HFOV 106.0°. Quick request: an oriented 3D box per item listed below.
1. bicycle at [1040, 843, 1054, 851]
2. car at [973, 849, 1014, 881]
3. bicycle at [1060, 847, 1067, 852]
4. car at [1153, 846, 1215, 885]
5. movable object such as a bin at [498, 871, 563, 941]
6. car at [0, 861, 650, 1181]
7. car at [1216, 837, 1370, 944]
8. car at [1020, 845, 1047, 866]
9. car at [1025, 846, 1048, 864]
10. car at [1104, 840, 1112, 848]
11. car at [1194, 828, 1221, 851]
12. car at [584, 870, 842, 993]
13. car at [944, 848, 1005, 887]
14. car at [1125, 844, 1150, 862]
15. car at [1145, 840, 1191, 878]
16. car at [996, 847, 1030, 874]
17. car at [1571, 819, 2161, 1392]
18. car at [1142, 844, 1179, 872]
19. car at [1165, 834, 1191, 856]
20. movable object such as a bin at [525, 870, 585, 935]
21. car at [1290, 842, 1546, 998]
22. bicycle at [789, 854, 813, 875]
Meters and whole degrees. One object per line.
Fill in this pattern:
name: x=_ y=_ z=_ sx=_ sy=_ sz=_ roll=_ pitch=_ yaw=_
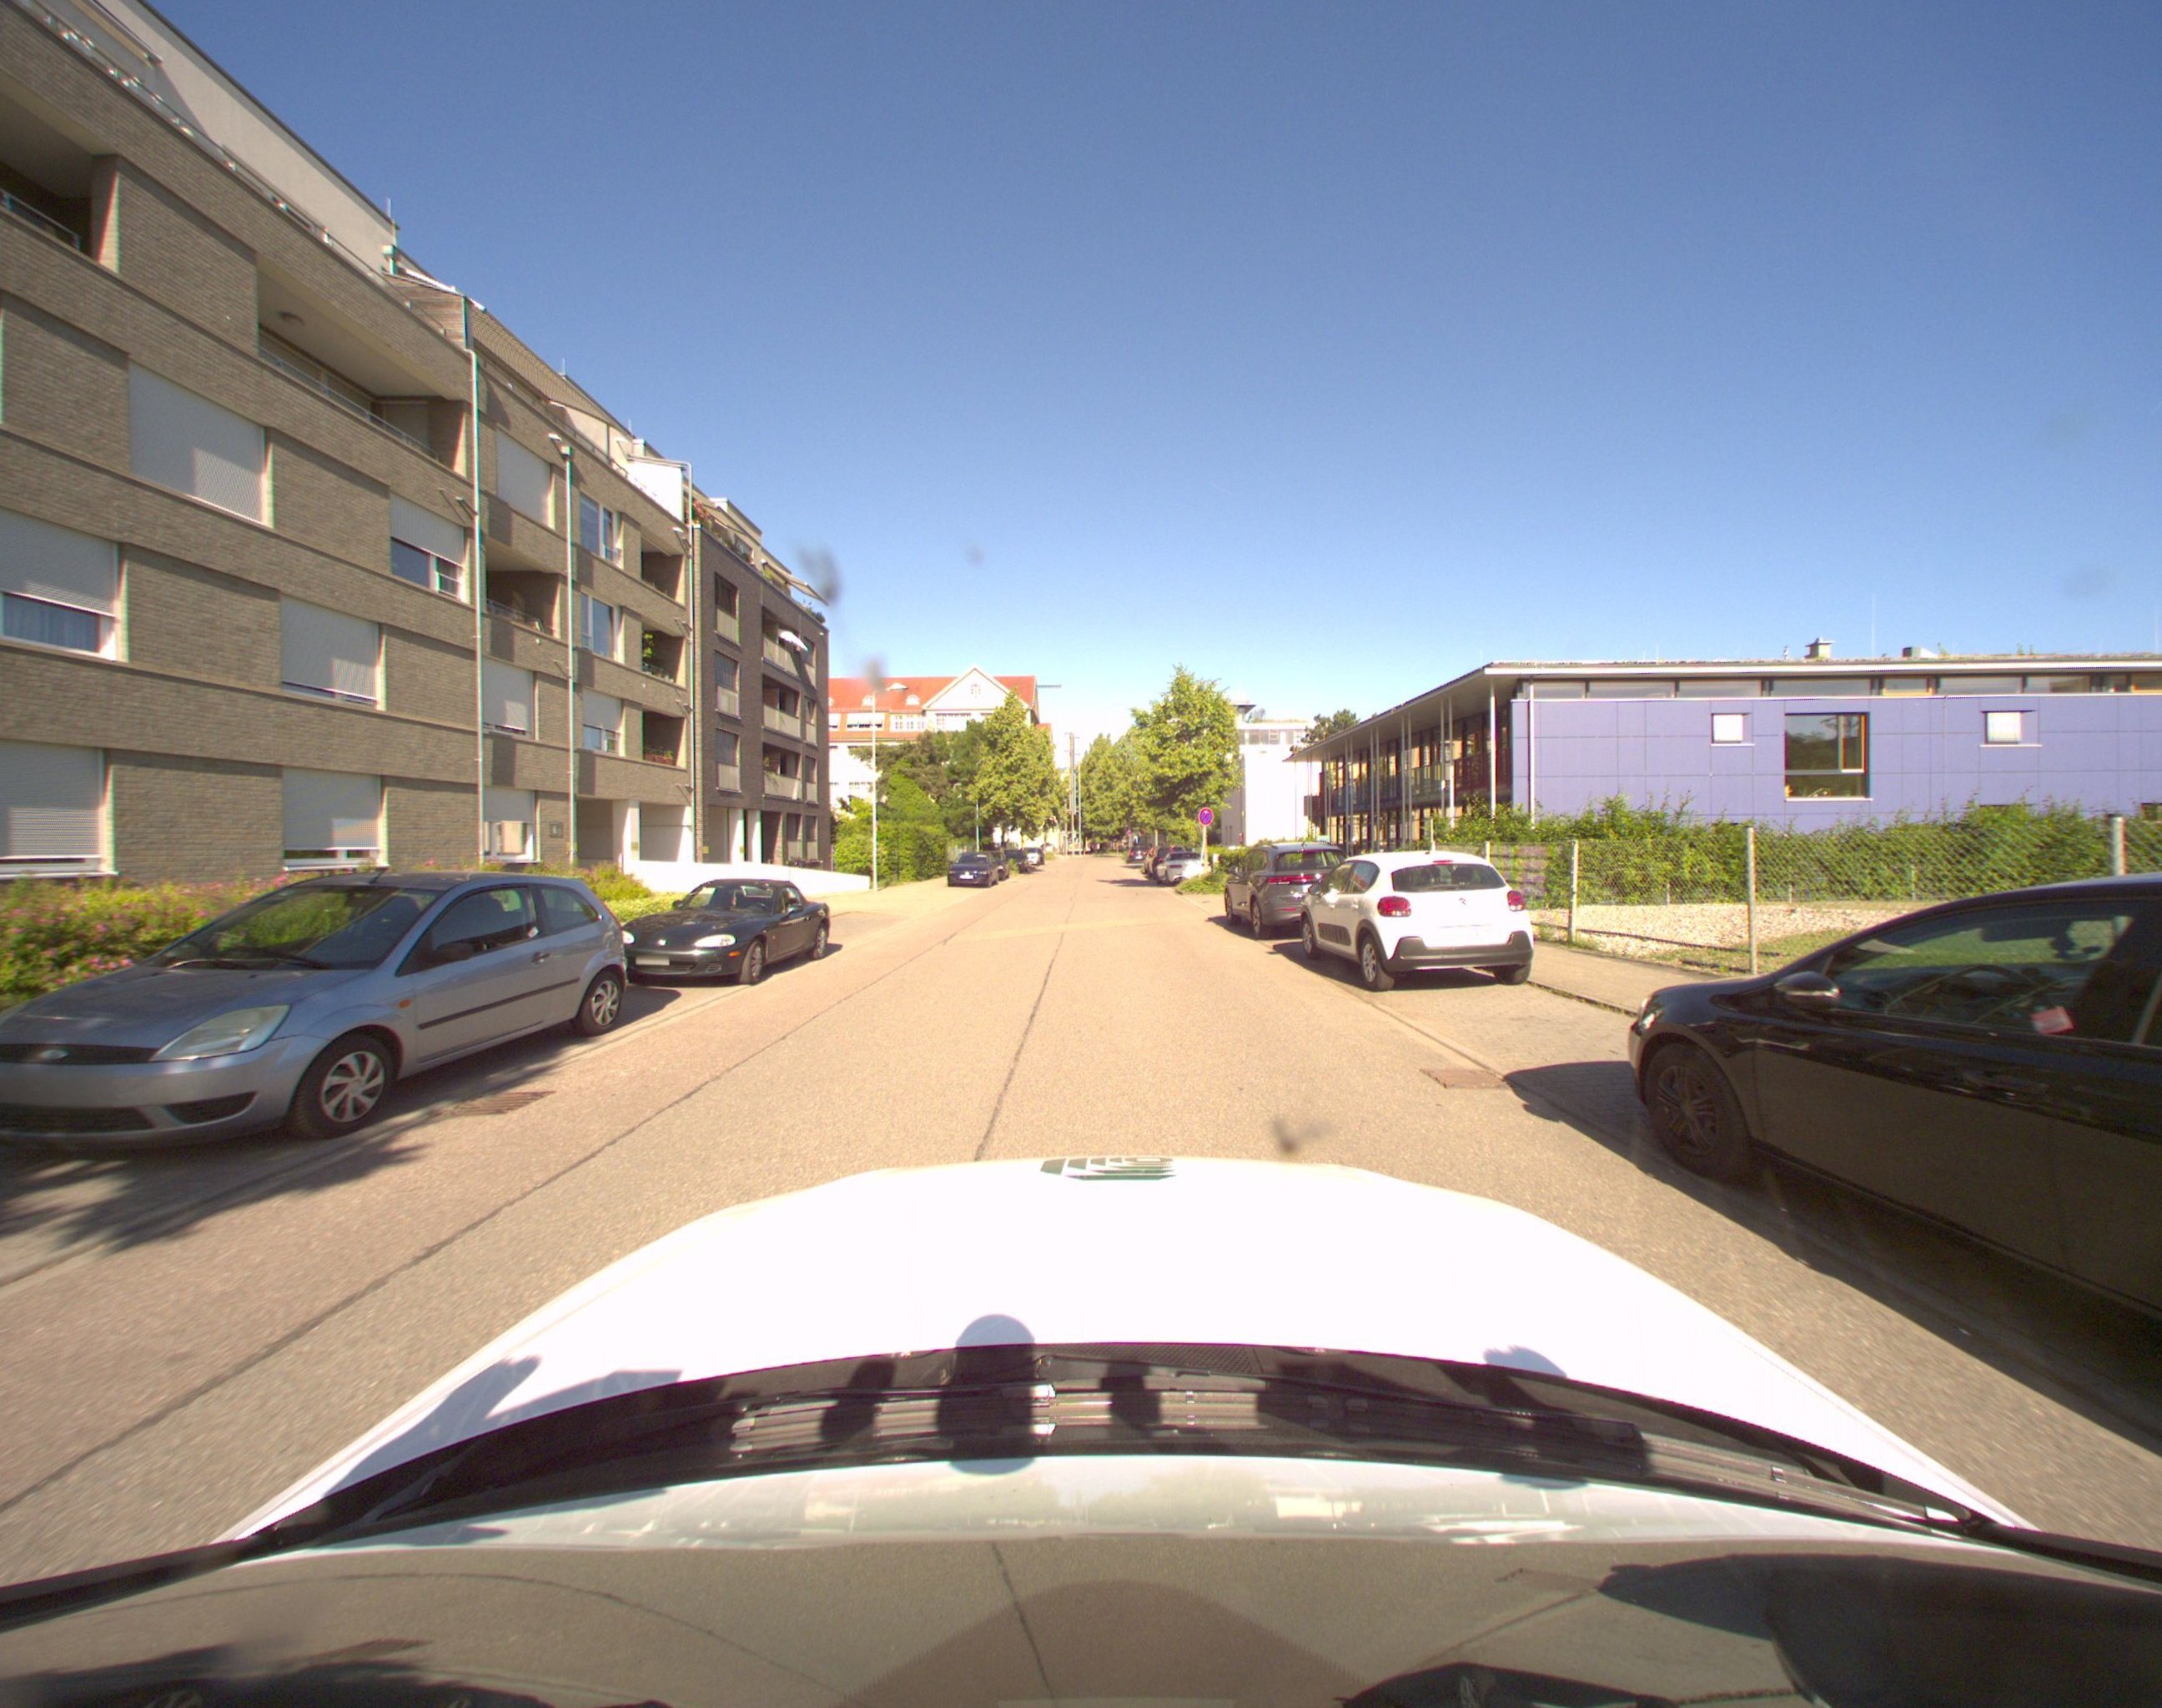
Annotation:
bicycle: x=-3.661 y=-0.733 z=88.442 sx=1.464 sy=0.842 sz=0.335 roll=-1 pitch=1 yaw=-4
car: x=-4.362 y=0.532 z=41.161 sx=1.624 sy=1.501 sz=3.578 roll=-1 pitch=0 yaw=1
bicycle: x=-2.353 y=-0.614 z=108.339 sx=0.375 sy=0.683 sz=1.068 roll=-1 pitch=1 yaw=-36
car: x=4.212 y=0.461 z=33.814 sx=1.825 sy=1.422 sz=4.230 roll=-3 pitch=0 yaw=-2
movable object such as a bin: x=-9.031 y=0.843 z=13.370 sx=0.605 sy=1.090 sz=0.636 roll=-1 pitch=1 yaw=-1
car: x=-4.934 y=0.824 z=5.849 sx=1.606 sy=1.465 sz=3.873 roll=-1 pitch=0 yaw=0
car: x=3.801 y=0.576 z=15.350 sx=1.720 sy=1.652 sz=4.326 roll=-3 pitch=0 yaw=0
car: x=-3.713 y=0.112 z=63.552 sx=1.771 sy=1.530 sz=4.001 roll=-1 pitch=0 yaw=1
car: x=-3.746 y=0.099 z=68.723 sx=1.695 sy=1.470 sz=3.462 roll=-1 pitch=0 yaw=1
car: x=7.342 y=-2.774 z=220.733 sx=1.986 sy=2.013 sz=4.002 roll=-1 pitch=1 yaw=1
car: x=11.854 y=-1.347 z=76.760 sx=1.986 sy=2.013 sz=4.001 roll=-1 pitch=0 yaw=1
car: x=-4.665 y=0.897 z=11.002 sx=1.593 sy=1.217 sz=3.877 roll=1 pitch=1 yaw=2
car: x=-4.460 y=0.527 z=34.751 sx=1.753 sy=1.527 sz=4.005 roll=2 pitch=0 yaw=4
car: x=4.849 y=-0.097 z=70.244 sx=1.986 sy=1.486 sz=4.001 roll=-1 pitch=0 yaw=1
car: x=4.324 y=0.227 z=40.984 sx=1.815 sy=1.718 sz=4.119 roll=-3 pitch=0 yaw=0
car: x=-4.165 y=0.364 z=50.573 sx=1.688 sy=1.605 sz=3.943 roll=-1 pitch=0 yaw=1
car: x=3.661 y=0.652 z=2.663 sx=1.682 sy=1.494 sz=4.078 roll=-1 pitch=0 yaw=0
car: x=4.546 y=0.222 z=47.061 sx=1.828 sy=1.516 sz=3.880 roll=-1 pitch=0 yaw=0
car: x=9.146 y=-0.850 z=76.819 sx=2.017 sy=2.013 sz=4.001 roll=-1 pitch=0 yaw=1
movable object such as a bin: x=-9.109 y=0.828 z=14.120 sx=0.605 sy=1.083 sz=0.636 roll=-1 pitch=1 yaw=-1
car: x=3.930 y=0.644 z=10.222 sx=1.674 sy=1.542 sz=3.849 roll=-1 pitch=1 yaw=1
bicycle: x=-11.663 y=0.427 z=33.986 sx=0.252 sy=0.837 sz=1.776 roll=-1 pitch=1 yaw=4
